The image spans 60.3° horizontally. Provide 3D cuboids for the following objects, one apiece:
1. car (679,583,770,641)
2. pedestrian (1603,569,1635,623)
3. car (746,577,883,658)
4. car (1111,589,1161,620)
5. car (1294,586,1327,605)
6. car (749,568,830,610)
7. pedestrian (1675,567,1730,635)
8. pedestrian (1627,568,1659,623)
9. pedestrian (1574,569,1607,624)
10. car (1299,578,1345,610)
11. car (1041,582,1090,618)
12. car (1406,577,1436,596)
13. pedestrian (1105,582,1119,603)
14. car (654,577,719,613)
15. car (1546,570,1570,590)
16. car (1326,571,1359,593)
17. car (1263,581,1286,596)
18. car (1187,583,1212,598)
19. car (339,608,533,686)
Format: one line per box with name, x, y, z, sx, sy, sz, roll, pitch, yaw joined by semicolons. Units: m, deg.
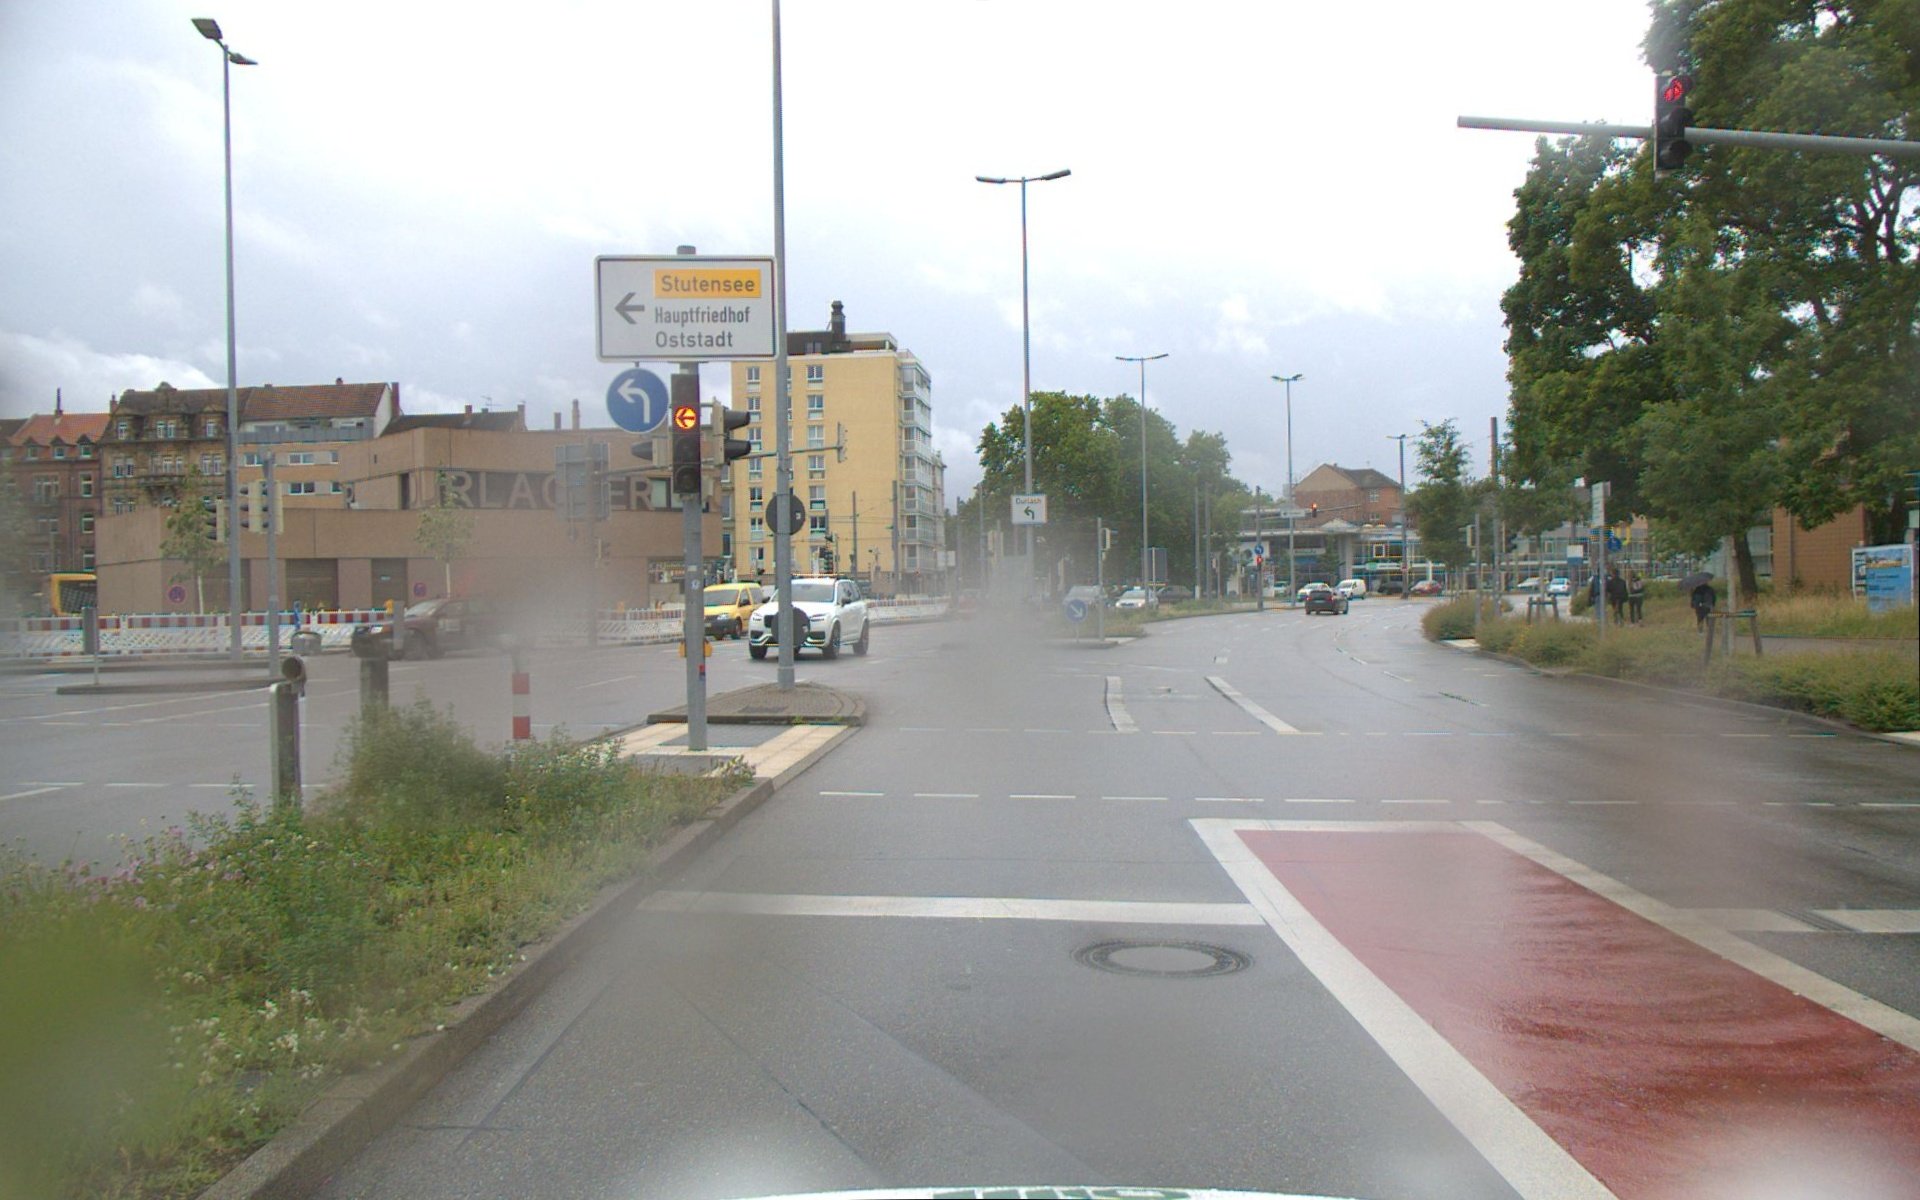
car;-7.525;0.350;53.211;1.669;1.735;4.156;-1;0;10
pedestrian;19.774;-0.124;49.644;0.688;1.615;0.937;-1;0;11
car;-3.238;0.348;37.907;1.787;1.711;5.170;-1;0;10
car;9.639;0.226;90.560;1.659;1.440;4.185;-2;2;21
car;32.001;-0.430;150.929;1.756;1.672;4.390;-1;0;29
car;-14.876;-0.962;144.896;6.600;3.439;2.810;-1;0;3
pedestrian;18.196;0.022;40.562;1.000;1.615;0.937;-1;0;11
pedestrian;20.540;-0.145;49.759;0.688;1.615;0.937;-1;0;11
pedestrian;18.956;-0.102;49.750;0.737;1.615;0.937;-1;0;11
car;19.792;-0.326;90.321;1.753;1.672;4.159;-1;0;22
car;5.742;-0.002;89.662;1.658;1.720;4.186;-2;2;18
car;42.635;-1.236;152.881;1.756;1.672;4.039;-1;0;30
pedestrian;13.480;-0.688;146.629;1.070;1.845;1.118;-1;0;-4
car;-24.045;-0.453;145.599;5.239;2.937;2.340;-1;0;3
car;50.405;-1.707;139.410;1.753;1.672;4.159;-1;0;22
car;33.825;-1.580;146.164;1.756;1.890;4.152;-1;0;29
car;36.052;-1.334;189.559;1.754;1.672;4.158;-1;0;24
car;27.966;-1.163;193.097;1.754;1.672;4.158;-1;0;24
car;-13.090;1.137;41.551;1.679;1.735;4.436;-1;1;40
